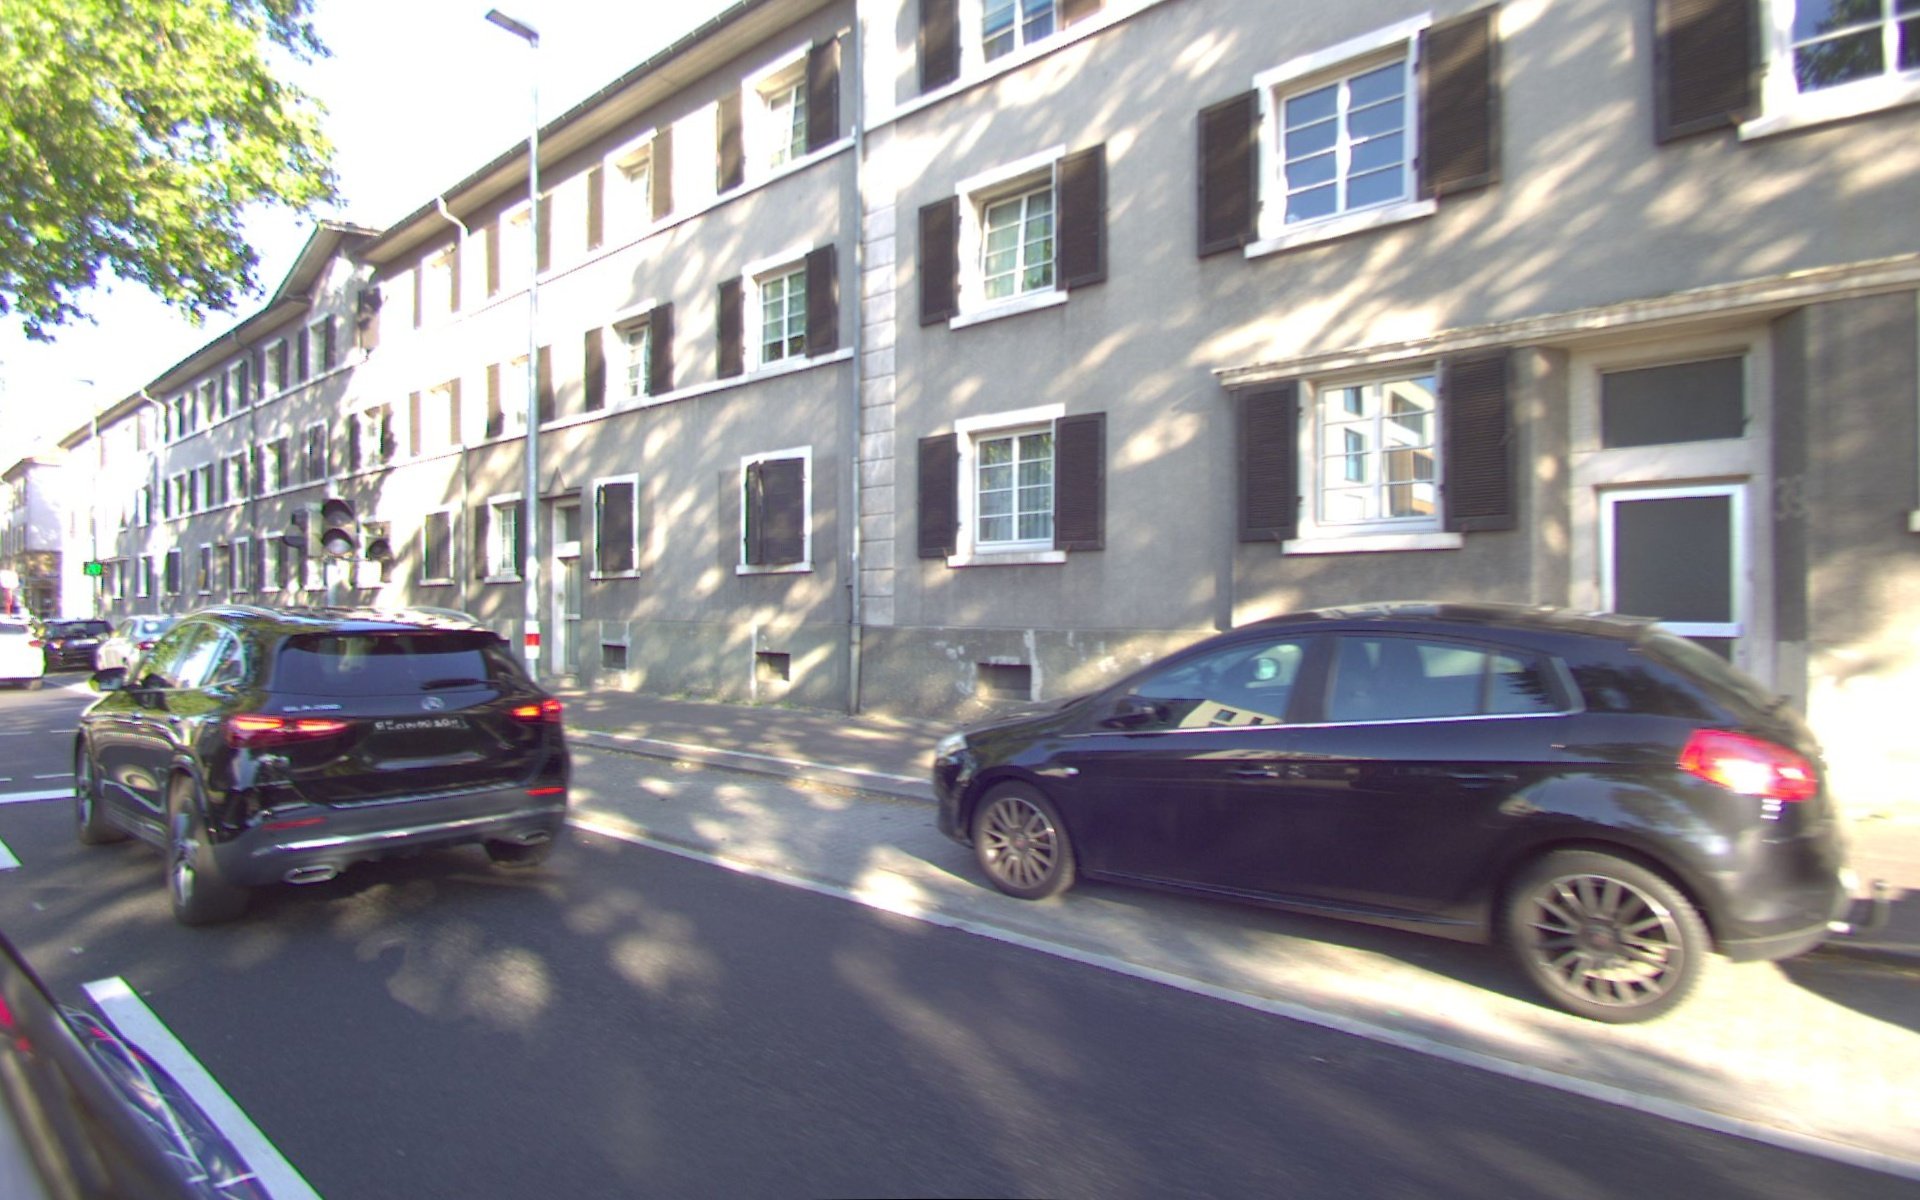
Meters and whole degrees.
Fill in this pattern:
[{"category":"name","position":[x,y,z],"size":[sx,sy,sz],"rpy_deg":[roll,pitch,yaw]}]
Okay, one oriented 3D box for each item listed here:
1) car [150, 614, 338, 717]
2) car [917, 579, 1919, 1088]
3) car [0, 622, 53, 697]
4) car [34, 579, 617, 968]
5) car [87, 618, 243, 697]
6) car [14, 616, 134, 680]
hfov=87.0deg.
[{"category":"car","position":[-12.699,1.058,17.865],"size":[4.086,1.494,1.845],"rpy_deg":[-1,2,43]},{"category":"car","position":[1.872,0.716,4.950],"size":[4.049,1.518,1.690],"rpy_deg":[-1,1,39]},{"category":"car","position":[-20.703,1.199,21.283],"size":[4.083,1.495,1.846],"rpy_deg":[-1,-2,40]},{"category":"car","position":[-4.070,0.765,6.231],"size":[4.066,1.602,1.877],"rpy_deg":[-1,-2,40]},{"category":"car","position":[-17.264,1.173,21.918],"size":[4.083,1.494,1.846],"rpy_deg":[-1,1,40]},{"category":"car","position":[-24.587,1.272,28.042],"size":[4.082,1.624,1.847],"rpy_deg":[-1,0,39]}]
